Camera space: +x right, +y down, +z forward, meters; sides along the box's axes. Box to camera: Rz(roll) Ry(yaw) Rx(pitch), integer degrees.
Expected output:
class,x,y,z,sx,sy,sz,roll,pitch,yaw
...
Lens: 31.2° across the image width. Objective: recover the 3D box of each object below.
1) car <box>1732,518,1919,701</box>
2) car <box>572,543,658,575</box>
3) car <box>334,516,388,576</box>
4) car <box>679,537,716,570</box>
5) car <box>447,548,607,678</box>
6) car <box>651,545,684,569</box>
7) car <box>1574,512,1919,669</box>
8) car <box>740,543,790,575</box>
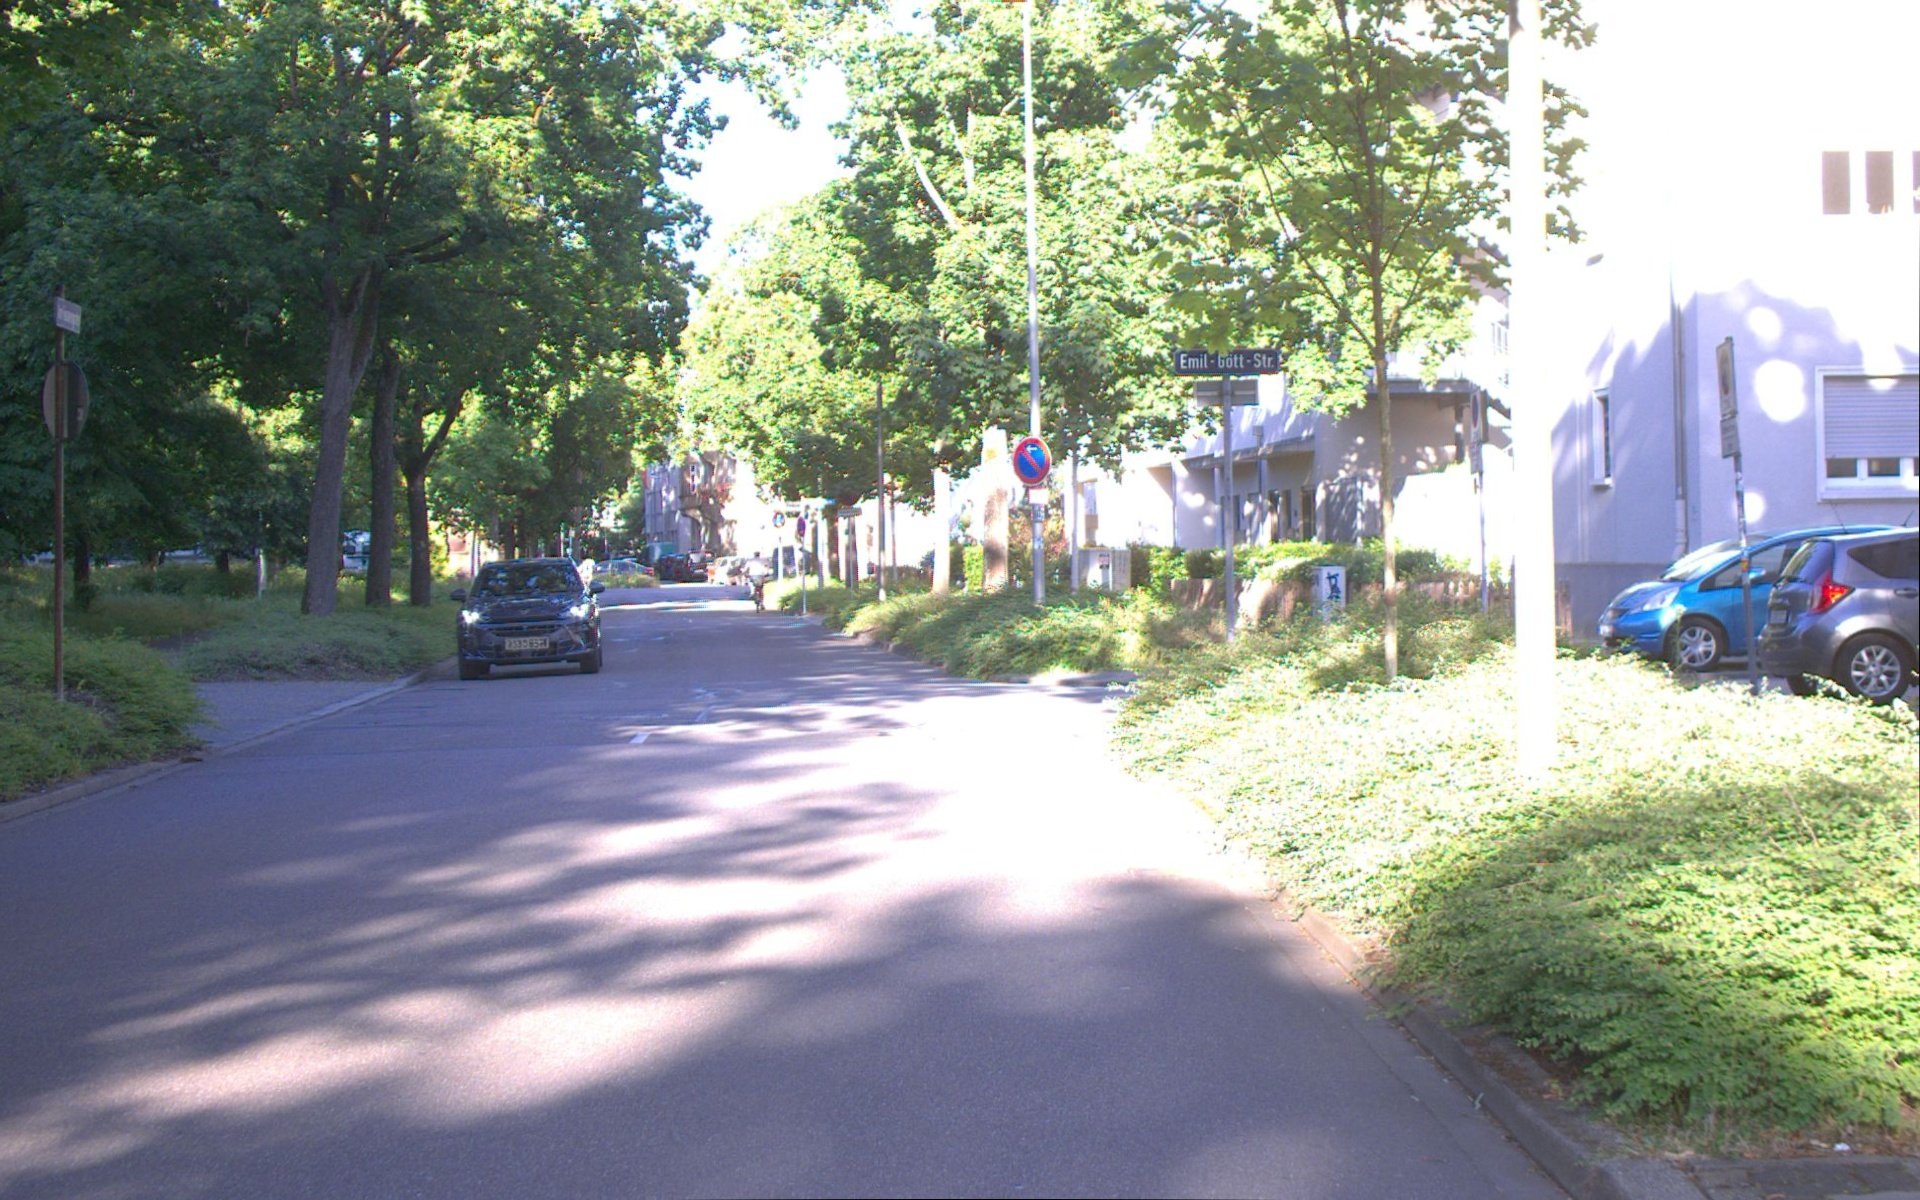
class,x,y,z,sx,sy,sz,roll,pitch,yaw
car,8.838,0.084,29.364,4.040,1.509,1.727,0,0,-4
car,-16.831,-1.995,167.693,3.986,1.496,1.818,0,1,-13
car,-25.376,-2.296,145.484,1.993,2.499,4.001,0,1,-14
car,-15.176,-2.692,198.626,1.811,1.919,4.001,0,1,-9
car,-5.793,0.135,46.396,1.844,1.573,4.336,-2,1,-4
car,-18.146,-2.680,213.113,1.811,1.496,4.001,0,1,-9
car,8.832,-0.126,37.125,3.986,1.576,1.810,-1,2,-5
car,-9.665,-2.035,170.310,1.811,1.496,4.001,-1,1,-12
